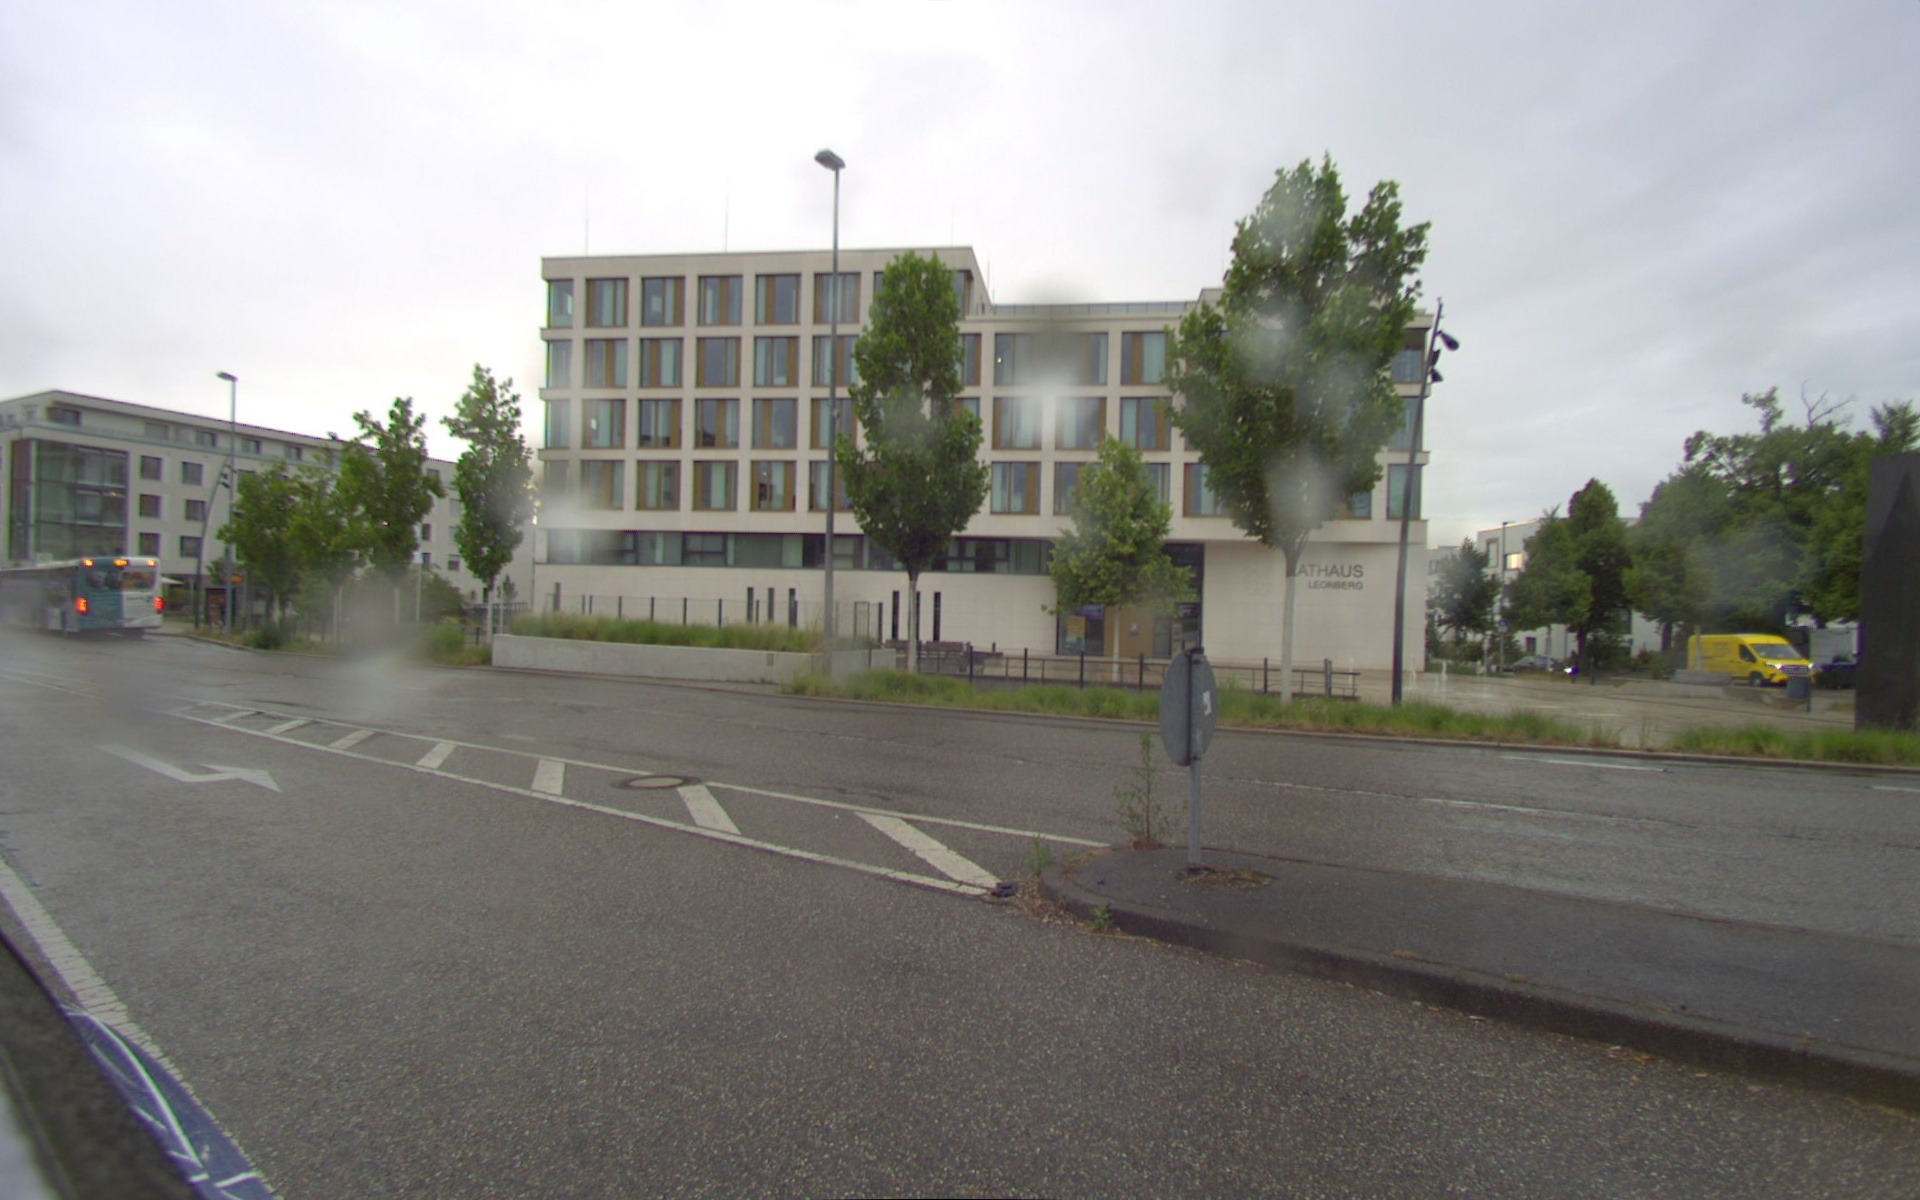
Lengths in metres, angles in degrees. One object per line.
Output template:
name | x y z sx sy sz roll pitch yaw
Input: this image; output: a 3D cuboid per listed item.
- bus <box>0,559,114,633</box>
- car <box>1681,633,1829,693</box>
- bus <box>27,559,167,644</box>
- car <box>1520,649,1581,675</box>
bus | -42.467 -0.115 47.008 8.867 3.138 2.766 -1 -2 36
car | 34.951 2.762 44.798 1.973 2.428 5.913 1 -3 2
bus | -35.355 0.121 41.294 9.360 3.138 2.749 -1 -2 40
car | 36.881 3.884 63.332 1.978 1.551 3.987 1 -3 10
